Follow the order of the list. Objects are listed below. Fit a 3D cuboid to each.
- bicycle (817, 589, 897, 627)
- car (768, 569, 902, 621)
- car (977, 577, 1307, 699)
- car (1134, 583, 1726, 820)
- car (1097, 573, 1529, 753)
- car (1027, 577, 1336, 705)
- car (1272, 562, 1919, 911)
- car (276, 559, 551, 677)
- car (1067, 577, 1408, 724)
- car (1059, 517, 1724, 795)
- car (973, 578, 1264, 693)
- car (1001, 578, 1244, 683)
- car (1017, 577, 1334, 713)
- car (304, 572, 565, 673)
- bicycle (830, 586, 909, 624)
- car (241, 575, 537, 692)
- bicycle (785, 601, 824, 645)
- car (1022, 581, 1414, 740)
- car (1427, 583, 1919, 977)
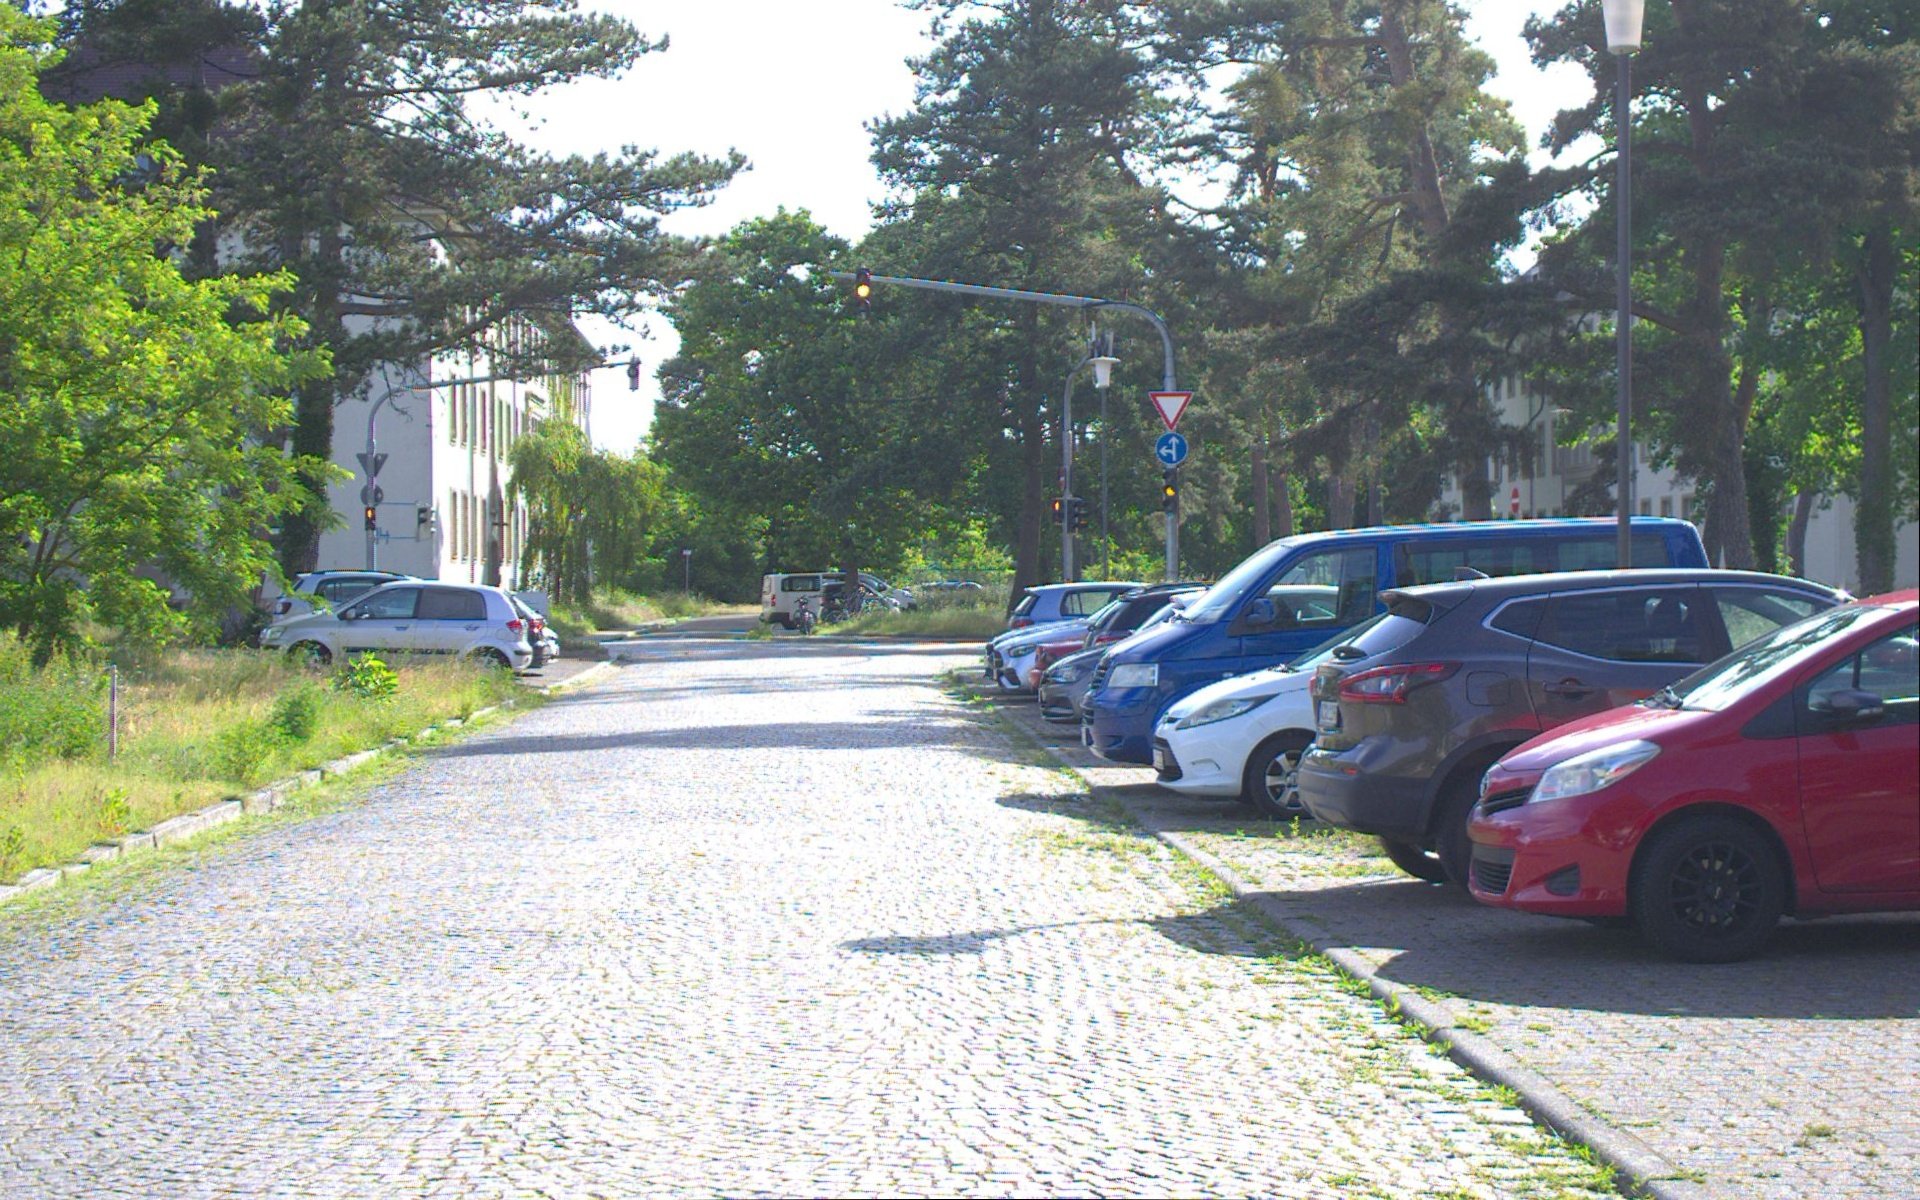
[{"bbox_3d":[-2.957,0.230,98.608,2.172,1.096,0.807,0,0,-12],"label":"bicycle"},{"bbox_3d":[-4.232,-0.181,116.046,4.480,1.722,2.000,0,0,-3],"label":"car"},{"bbox_3d":[2.316,0.471,44.348,4.033,1.524,1.646,0,0,-6],"label":"car"},{"bbox_3d":[3.151,0.661,23.468,3.718,1.483,1.646,-1,0,-4],"label":"car"},{"bbox_3d":[3.168,0.551,31.330,3.694,1.461,1.645,-2,0,-1],"label":"car"},{"bbox_3d":[2.694,0.486,42.281,3.602,1.524,1.646,0,0,-3],"label":"car"},{"bbox_3d":[3.641,0.626,17.062,3.935,1.616,1.772,0,0,-3],"label":"car"},{"bbox_3d":[-8.545,0.274,54.002,3.986,1.596,2.000,3,0,-3],"label":"car"},{"bbox_3d":[2.962,0.526,37.134,3.477,1.524,1.646,0,0,-3],"label":"car"},{"bbox_3d":[3.199,0.390,26.149,4.676,2.007,2.084,0,0,-5],"label":"car"},{"bbox_3d":[2.142,0.474,47.115,3.835,1.524,1.646,0,0,-3],"label":"car"},{"bbox_3d":[2.328,0.431,49.764,3.343,1.478,1.646,0,0,-3],"label":"car"},{"bbox_3d":[2.461,0.505,39.810,3.477,1.524,1.646,0,0,-3],"label":"car"},{"bbox_3d":[-8.581,0.357,56.404,3.986,1.448,2.000,3,0,-3],"label":"car"},{"bbox_3d":[-2.634,0.147,99.861,2.172,1.096,0.807,0,0,-12],"label":"bicycle"},{"bbox_3d":[-8.025,0.455,48.628,3.986,1.595,2.000,0,0,-5],"label":"car"},{"bbox_3d":[-4.306,0.622,95.099,0.804,1.165,2.181,-2,1,-8],"label":"bicycle"},{"bbox_3d":[2.523,0.579,34.198,3.674,1.462,1.646,-1,0,-3],"label":"car"},{"bbox_3d":[3.980,0.697,14.396,3.762,1.525,1.646,0,0,-3],"label":"car"}]
